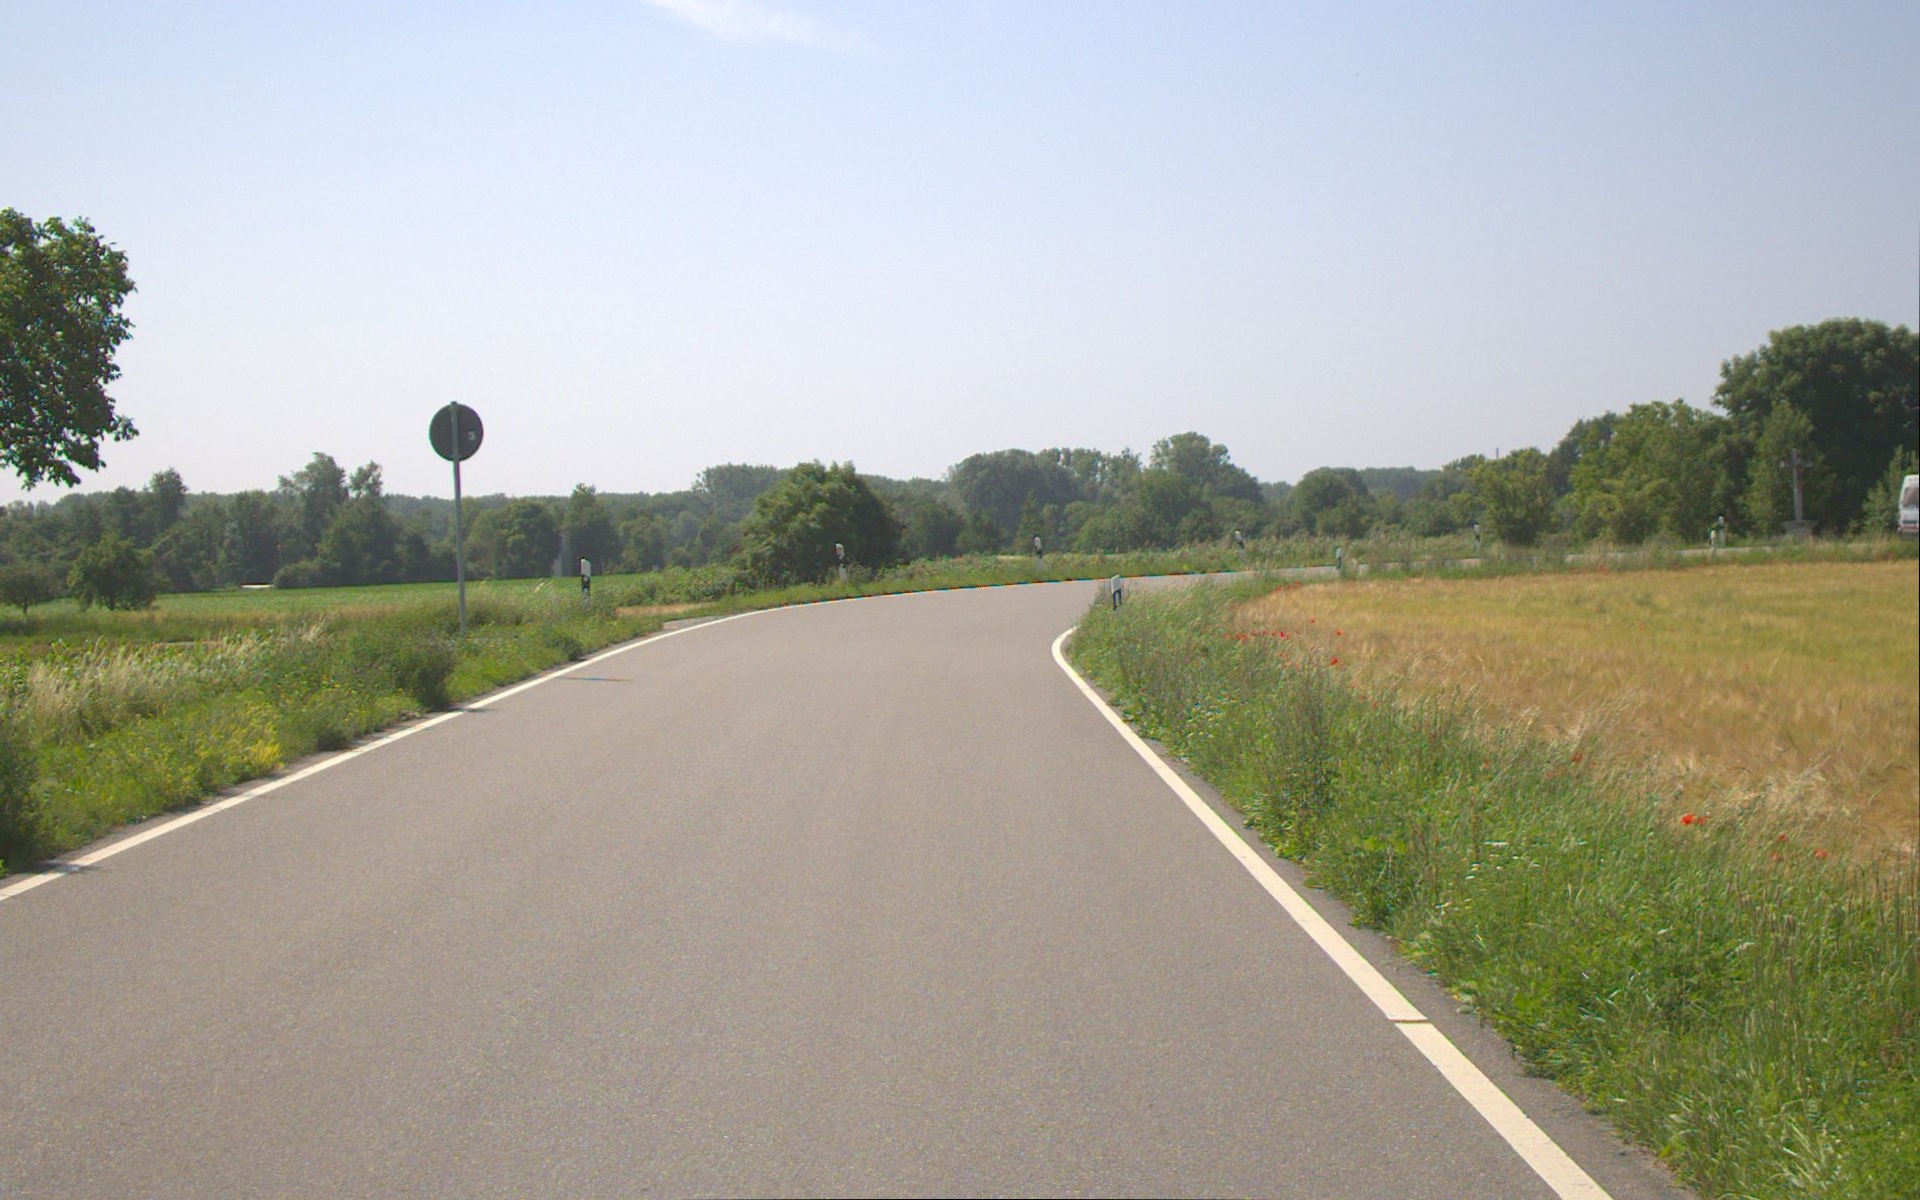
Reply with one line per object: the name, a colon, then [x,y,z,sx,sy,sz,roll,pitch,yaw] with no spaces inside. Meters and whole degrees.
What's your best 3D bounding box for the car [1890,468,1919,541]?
car: [33.394,-3.236,113.359,5.669,2.359,2.110,-3,1,-36]
